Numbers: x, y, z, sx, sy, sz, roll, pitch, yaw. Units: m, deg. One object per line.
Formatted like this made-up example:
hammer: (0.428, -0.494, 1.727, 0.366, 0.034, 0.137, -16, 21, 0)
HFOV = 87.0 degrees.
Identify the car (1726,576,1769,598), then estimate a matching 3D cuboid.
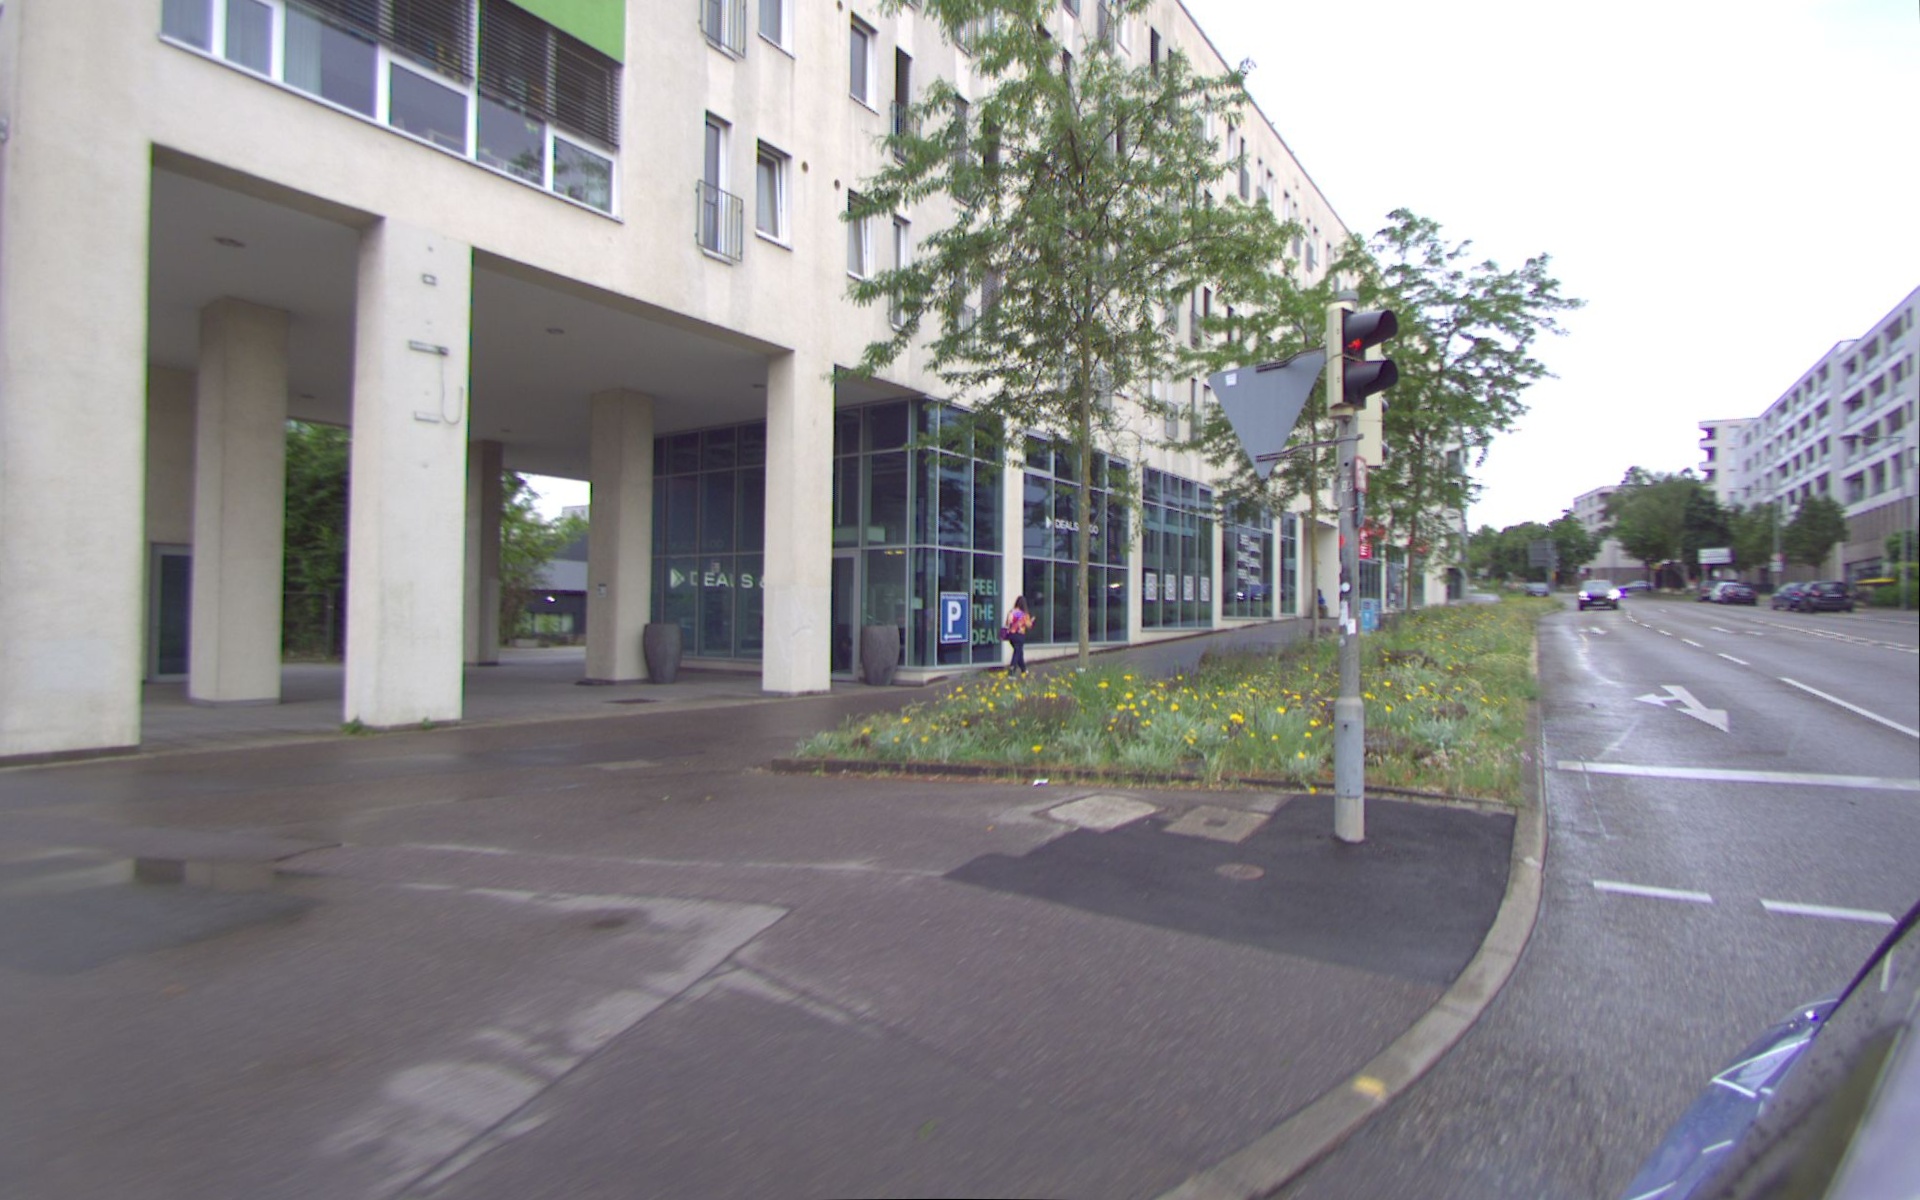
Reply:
car: (53.513, -0.923, 68.825, 1.648, 1.408, 3.703, 1, 2, 29)

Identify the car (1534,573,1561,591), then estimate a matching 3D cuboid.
car: (56.315, -1.722, 97.029, 1.985, 1.505, 3.954, -3, 0, 33)

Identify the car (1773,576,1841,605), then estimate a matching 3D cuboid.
car: (43.694, -0.506, 52.284, 1.644, 1.421, 4.232, -1, 0, 26)

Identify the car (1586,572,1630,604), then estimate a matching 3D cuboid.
car: (36.818, -0.699, 57.549, 1.985, 1.594, 3.954, -3, 0, 33)

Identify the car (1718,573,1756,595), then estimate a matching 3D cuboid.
car: (55.699, -1.164, 72.598, 1.585, 1.486, 3.387, 3, 3, 29)

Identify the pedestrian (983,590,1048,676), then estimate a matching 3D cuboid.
pedestrian: (1.162, 0.676, 20.976, 0.869, 1.734, 1.074, -3, -2, 36)

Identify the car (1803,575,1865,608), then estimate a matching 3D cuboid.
car: (41.844, -0.438, 48.514, 1.504, 1.528, 2.956, 2, 2, 26)

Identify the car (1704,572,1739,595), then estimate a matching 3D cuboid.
car: (58.147, -1.258, 77.348, 1.618, 1.638, 3.930, 2, 2, 30)
